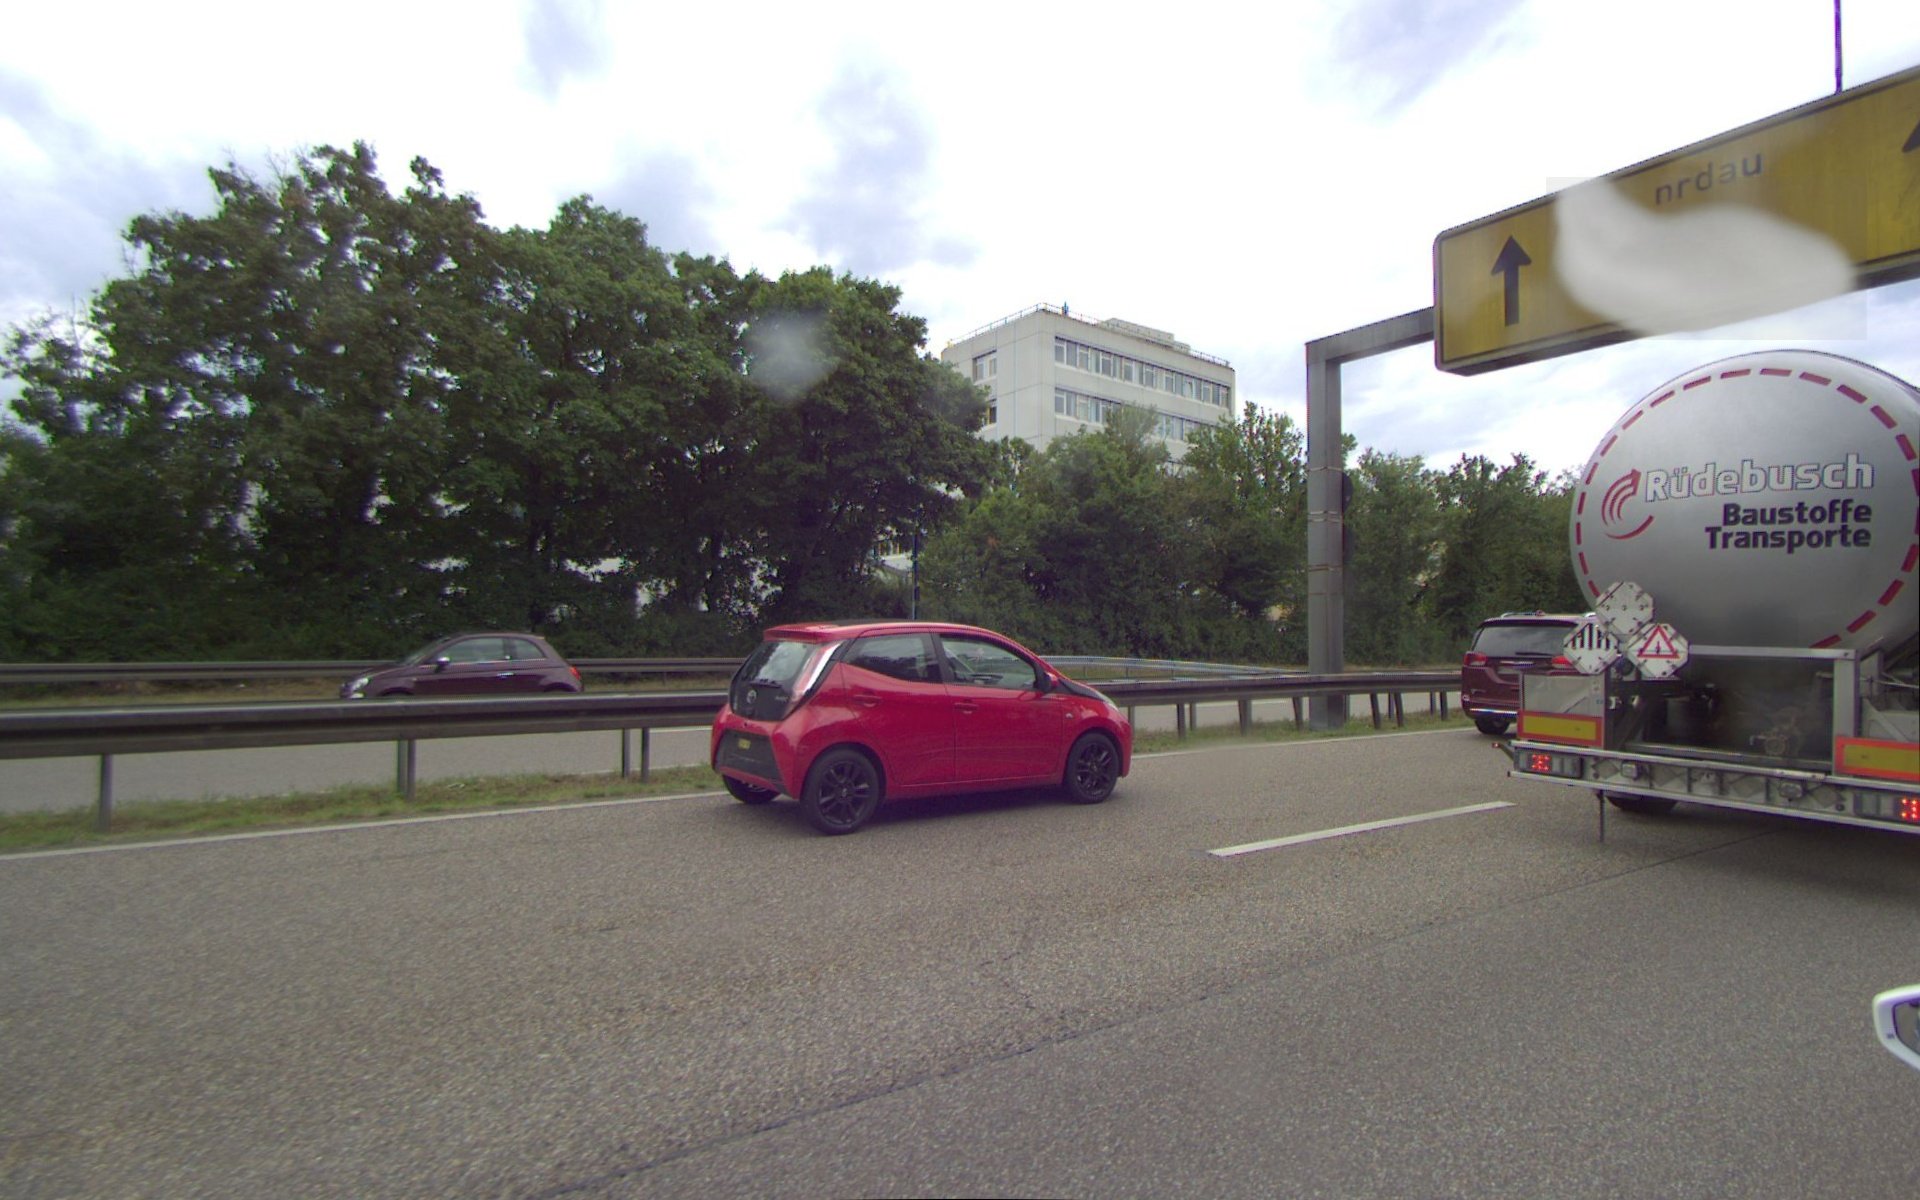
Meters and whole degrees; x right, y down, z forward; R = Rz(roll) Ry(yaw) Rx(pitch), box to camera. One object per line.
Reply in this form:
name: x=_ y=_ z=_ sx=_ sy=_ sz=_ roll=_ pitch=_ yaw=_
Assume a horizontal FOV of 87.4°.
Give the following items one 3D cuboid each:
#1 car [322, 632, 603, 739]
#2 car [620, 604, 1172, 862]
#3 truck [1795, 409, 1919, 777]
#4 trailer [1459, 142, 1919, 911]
car: x=-7.870 y=1.285 z=16.052 sx=3.799 sy=1.516 sz=1.562 roll=2 pitch=-2 yaw=-38
car: x=-0.370 y=0.870 z=7.871 sx=4.048 sy=1.544 sz=1.617 roll=2 pitch=-1 yaw=-34
truck: x=13.288 y=0.002 z=12.587 sx=6.868 sy=3.958 sz=2.665 roll=2 pitch=-2 yaw=-36
trailer: x=8.697 y=-0.222 z=9.260 sx=10.882 sy=3.958 sz=2.664 roll=2 pitch=-2 yaw=-36
